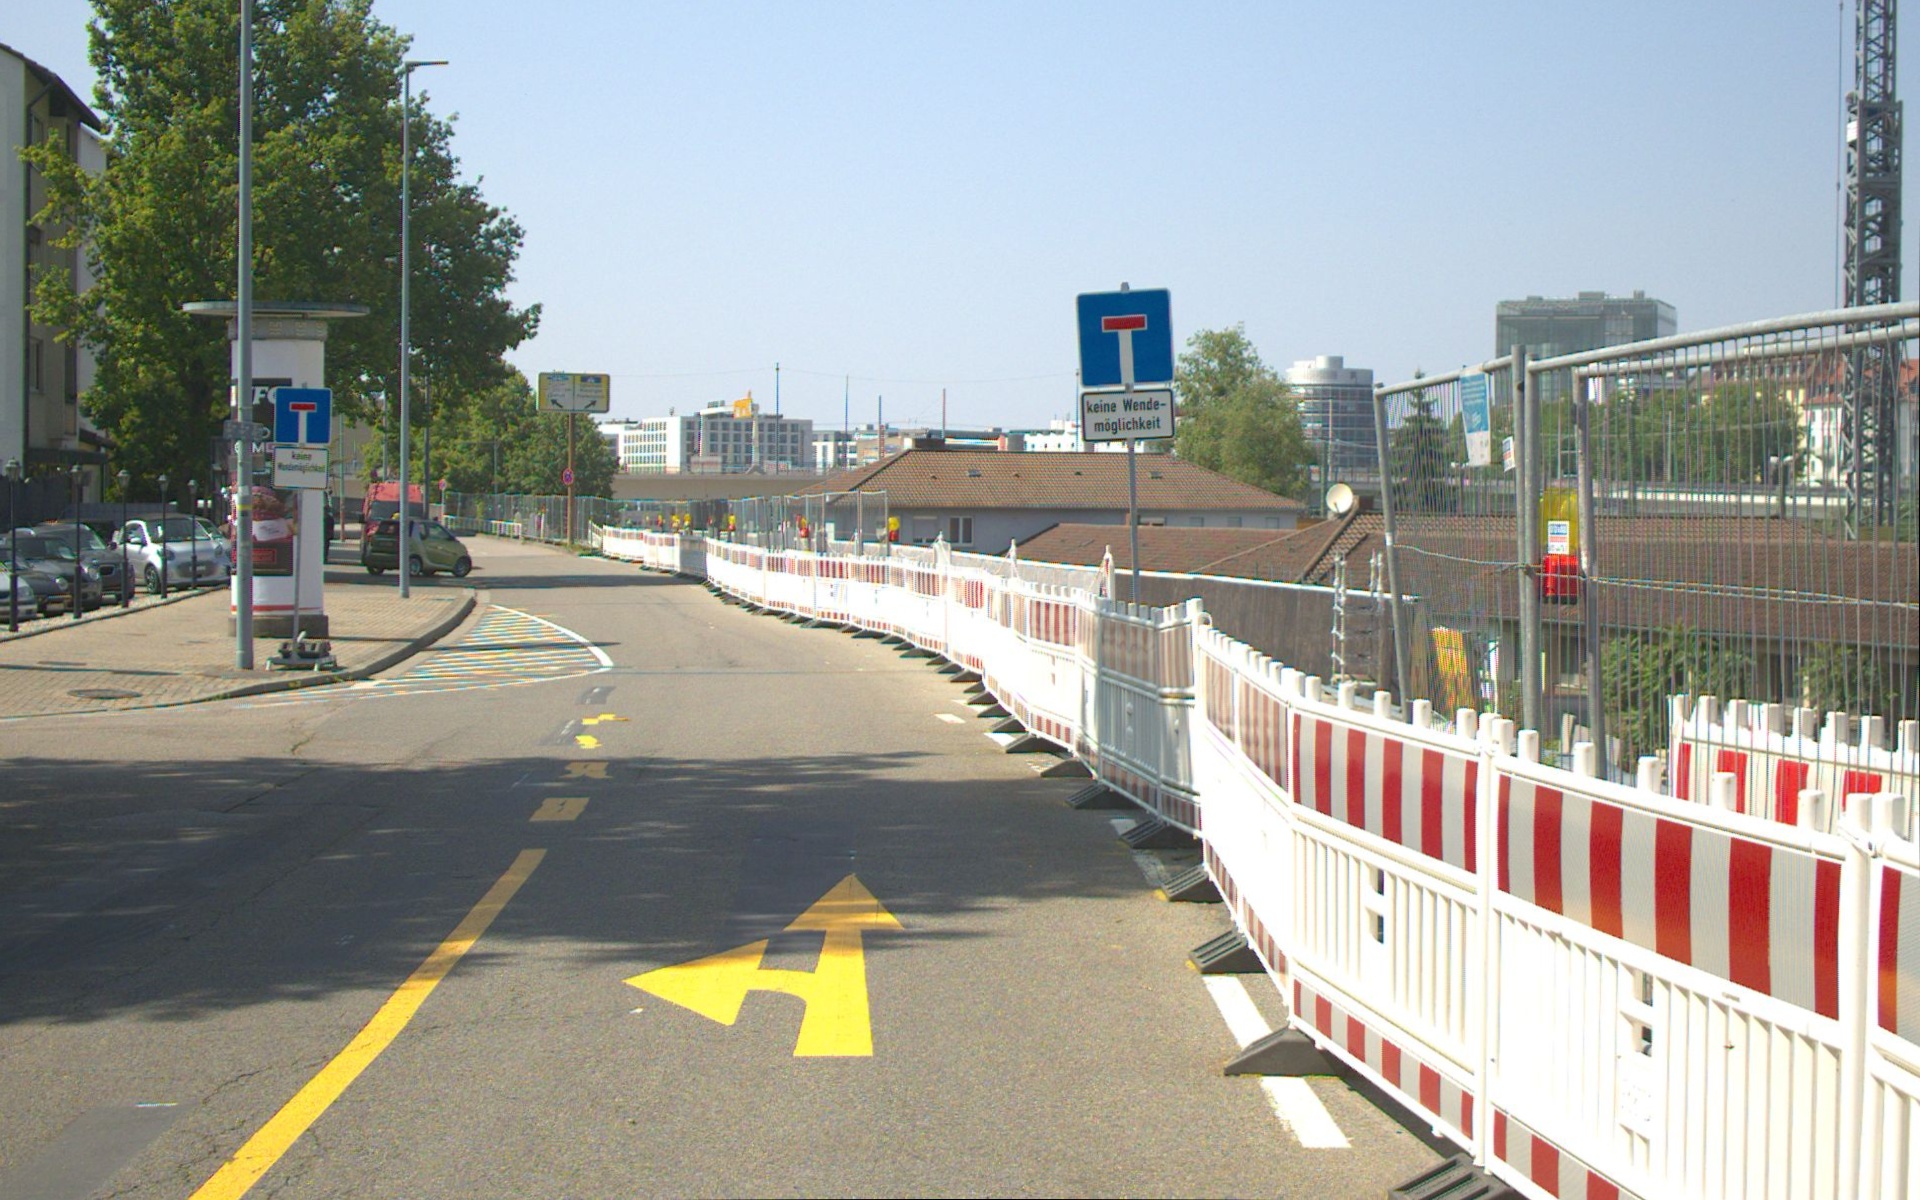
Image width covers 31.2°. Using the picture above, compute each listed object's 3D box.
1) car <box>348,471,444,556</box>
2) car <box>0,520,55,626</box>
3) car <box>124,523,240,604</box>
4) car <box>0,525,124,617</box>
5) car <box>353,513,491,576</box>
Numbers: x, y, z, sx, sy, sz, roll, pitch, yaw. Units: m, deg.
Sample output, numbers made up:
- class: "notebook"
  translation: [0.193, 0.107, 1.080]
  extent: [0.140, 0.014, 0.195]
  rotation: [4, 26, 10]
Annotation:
- class: "car"
  translation: [-17.405, -2.634, 106.307]
  extent: [2.537, 2.511, 5.119]
  rotation: [1, 0, -5]
- class: "car"
  translation: [-15.535, -0.465, 54.659]
  extent: [1.856, 1.623, 4.001]
  rotation: [0, 1, -20]
- class: "car"
  translation: [-16.183, -0.781, 71.378]
  extent: [1.856, 1.623, 4.001]
  rotation: [0, 1, -20]
- class: "car"
  translation: [-16.604, -0.552, 63.408]
  extent: [1.856, 1.623, 4.001]
  rotation: [0, 1, -20]
- class: "car"
  translation: [-14.474, -1.492, 92.561]
  extent: [1.725, 1.632, 3.272]
  rotation: [1, 1, 44]
